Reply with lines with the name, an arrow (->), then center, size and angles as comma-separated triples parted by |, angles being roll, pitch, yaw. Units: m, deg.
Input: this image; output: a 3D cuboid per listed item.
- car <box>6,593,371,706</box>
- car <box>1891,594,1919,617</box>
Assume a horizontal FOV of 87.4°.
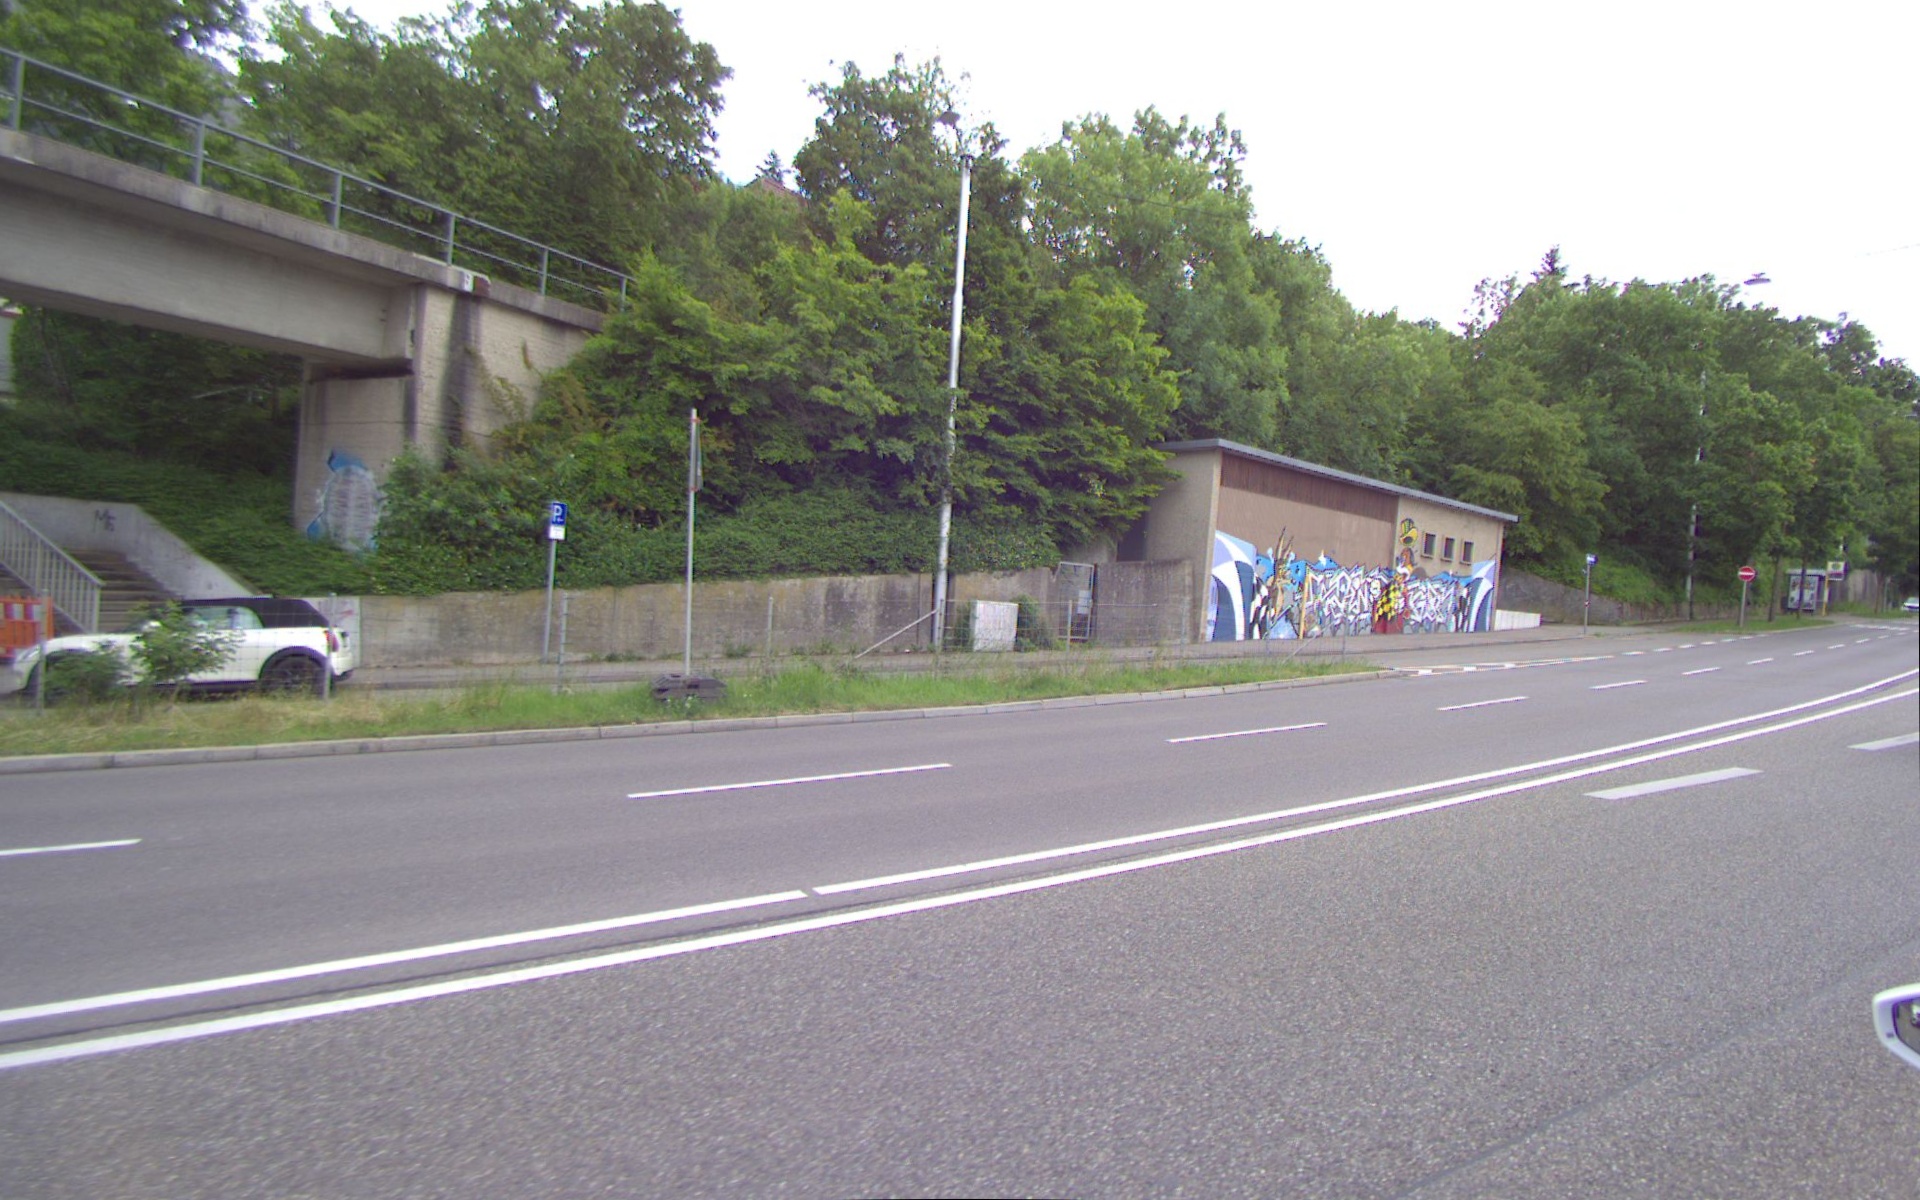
car -> -10.668, 0.662, 14.265 | 3.751, 1.438, 1.761 | 1, 0, -24
car -> 77.063, 0.441, 81.274 | 4.244, 1.693, 1.844 | 0, 5, -40
